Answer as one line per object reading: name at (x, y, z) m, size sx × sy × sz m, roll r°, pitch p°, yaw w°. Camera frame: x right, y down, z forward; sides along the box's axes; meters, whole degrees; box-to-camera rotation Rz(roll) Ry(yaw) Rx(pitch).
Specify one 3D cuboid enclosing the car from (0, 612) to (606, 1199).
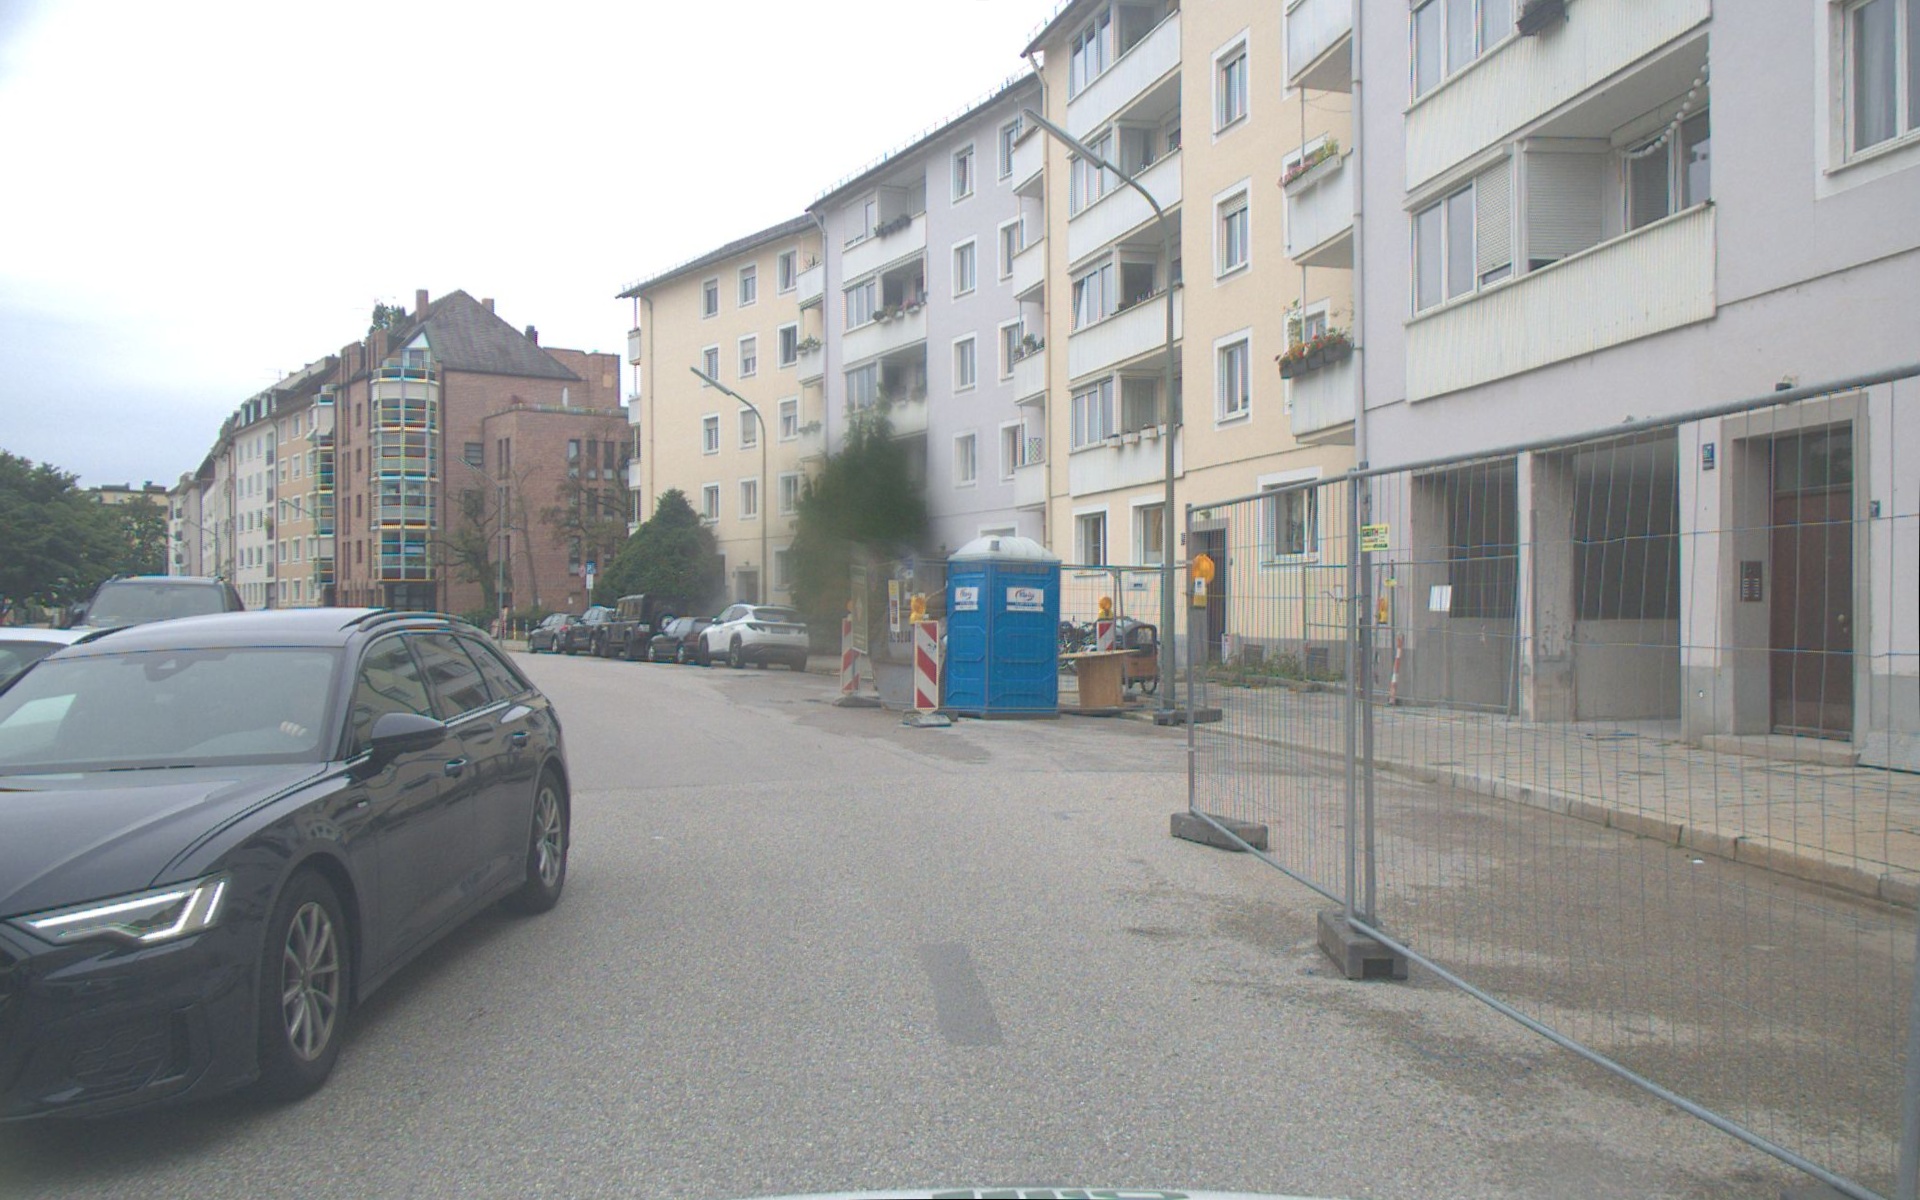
car at (-2.845, 0.819, 6.404) m, size 1.881 × 1.436 × 4.704 m, roll -2°, pitch 0°, yaw 0°

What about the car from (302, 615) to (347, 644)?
car at (-34.758, 1.603, 90.438) m, size 1.617 × 1.509 × 3.570 m, roll 0°, pitch 0°, yaw -32°

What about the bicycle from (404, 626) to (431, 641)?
bicycle at (-32.538, 1.998, 99.168) m, size 1.092 × 0.869 × 1.706 m, roll 0°, pitch -1°, yaw -35°

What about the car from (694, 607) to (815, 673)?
car at (-5.338, 0.986, 42.520) m, size 1.810 × 1.601 × 3.963 m, roll 0°, pitch 0°, yaw -28°

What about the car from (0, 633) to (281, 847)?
car at (-7.540, 1.089, 12.613) m, size 1.784 × 1.445 × 3.970 m, roll -3°, pitch 0°, yaw 45°

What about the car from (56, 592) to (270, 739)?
car at (-10.708, 0.825, 22.572) m, size 2.021 × 1.766 × 4.859 m, roll 0°, pitch -1°, yaw -19°

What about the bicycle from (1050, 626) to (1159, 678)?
bicycle at (3.142, 1.126, 35.999) m, size 2.198 × 1.088 × 0.915 m, roll 0°, pitch 0°, yaw -18°

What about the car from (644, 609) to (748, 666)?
car at (-7.546, 1.054, 47.074) m, size 1.762 × 1.545 × 3.683 m, roll 1°, pitch -1°, yaw -29°

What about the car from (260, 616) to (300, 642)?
car at (-40.694, 1.741, 98.977) m, size 1.617 × 1.509 × 3.570 m, roll 0°, pitch -1°, yaw -32°

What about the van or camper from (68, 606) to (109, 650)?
van or camper at (-53.663, 1.707, 101.797) m, size 2.074 × 2.596 × 4.723 m, roll 0°, pitch -1°, yaw -30°

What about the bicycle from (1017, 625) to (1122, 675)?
bicycle at (2.479, 1.121, 37.381) m, size 2.198 × 1.088 × 0.915 m, roll 0°, pitch 0°, yaw -18°

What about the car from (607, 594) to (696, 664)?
car at (-9.544, 0.876, 51.008) m, size 1.759 × 2.011 × 3.689 m, roll -2°, pitch 0°, yaw -26°

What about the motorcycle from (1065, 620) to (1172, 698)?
motorcycle at (2.641, 0.965, 27.979) m, size 0.917 × 1.242 × 2.495 m, roll 0°, pitch 0°, yaw -17°

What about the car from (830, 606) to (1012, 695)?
car at (-0.783, 0.842, 29.453) m, size 1.758 × 1.464 × 4.249 m, roll 0°, pitch 0°, yaw -24°

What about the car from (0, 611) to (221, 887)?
car at (-6.574, 0.928, 9.631) m, size 3.780 × 1.534 × 1.687 m, roll -3°, pitch 0°, yaw -44°

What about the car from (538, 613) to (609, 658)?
car at (-14.008, 1.266, 59.811) m, size 1.759 × 1.537 × 3.689 m, roll -1°, pitch 0°, yaw -26°

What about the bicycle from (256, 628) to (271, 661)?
bicycle at (-21.107, 1.339, 50.146) m, size 0.383 × 0.986 × 1.704 m, roll 0°, pitch 0°, yaw -22°

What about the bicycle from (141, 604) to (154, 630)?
bicycle at (-73.070, 1.518, 148.733) m, size 1.014 × 2.049 × 3.250 m, roll 0°, pitch -5°, yaw -28°

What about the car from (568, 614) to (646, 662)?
car at (-11.957, 1.268, 55.868) m, size 1.759 × 1.537 × 3.689 m, roll 0°, pitch -1°, yaw -26°

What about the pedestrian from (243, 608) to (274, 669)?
pedestrian at (-21.121, 1.156, 49.805) m, size 0.722 × 1.799 × 0.918 m, roll 0°, pitch -1°, yaw -13°

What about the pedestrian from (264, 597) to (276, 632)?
pedestrian at (-29.872, 0.626, 71.612) m, size 0.455 × 1.486 × 0.440 m, roll 0°, pitch -2°, yaw -22°
